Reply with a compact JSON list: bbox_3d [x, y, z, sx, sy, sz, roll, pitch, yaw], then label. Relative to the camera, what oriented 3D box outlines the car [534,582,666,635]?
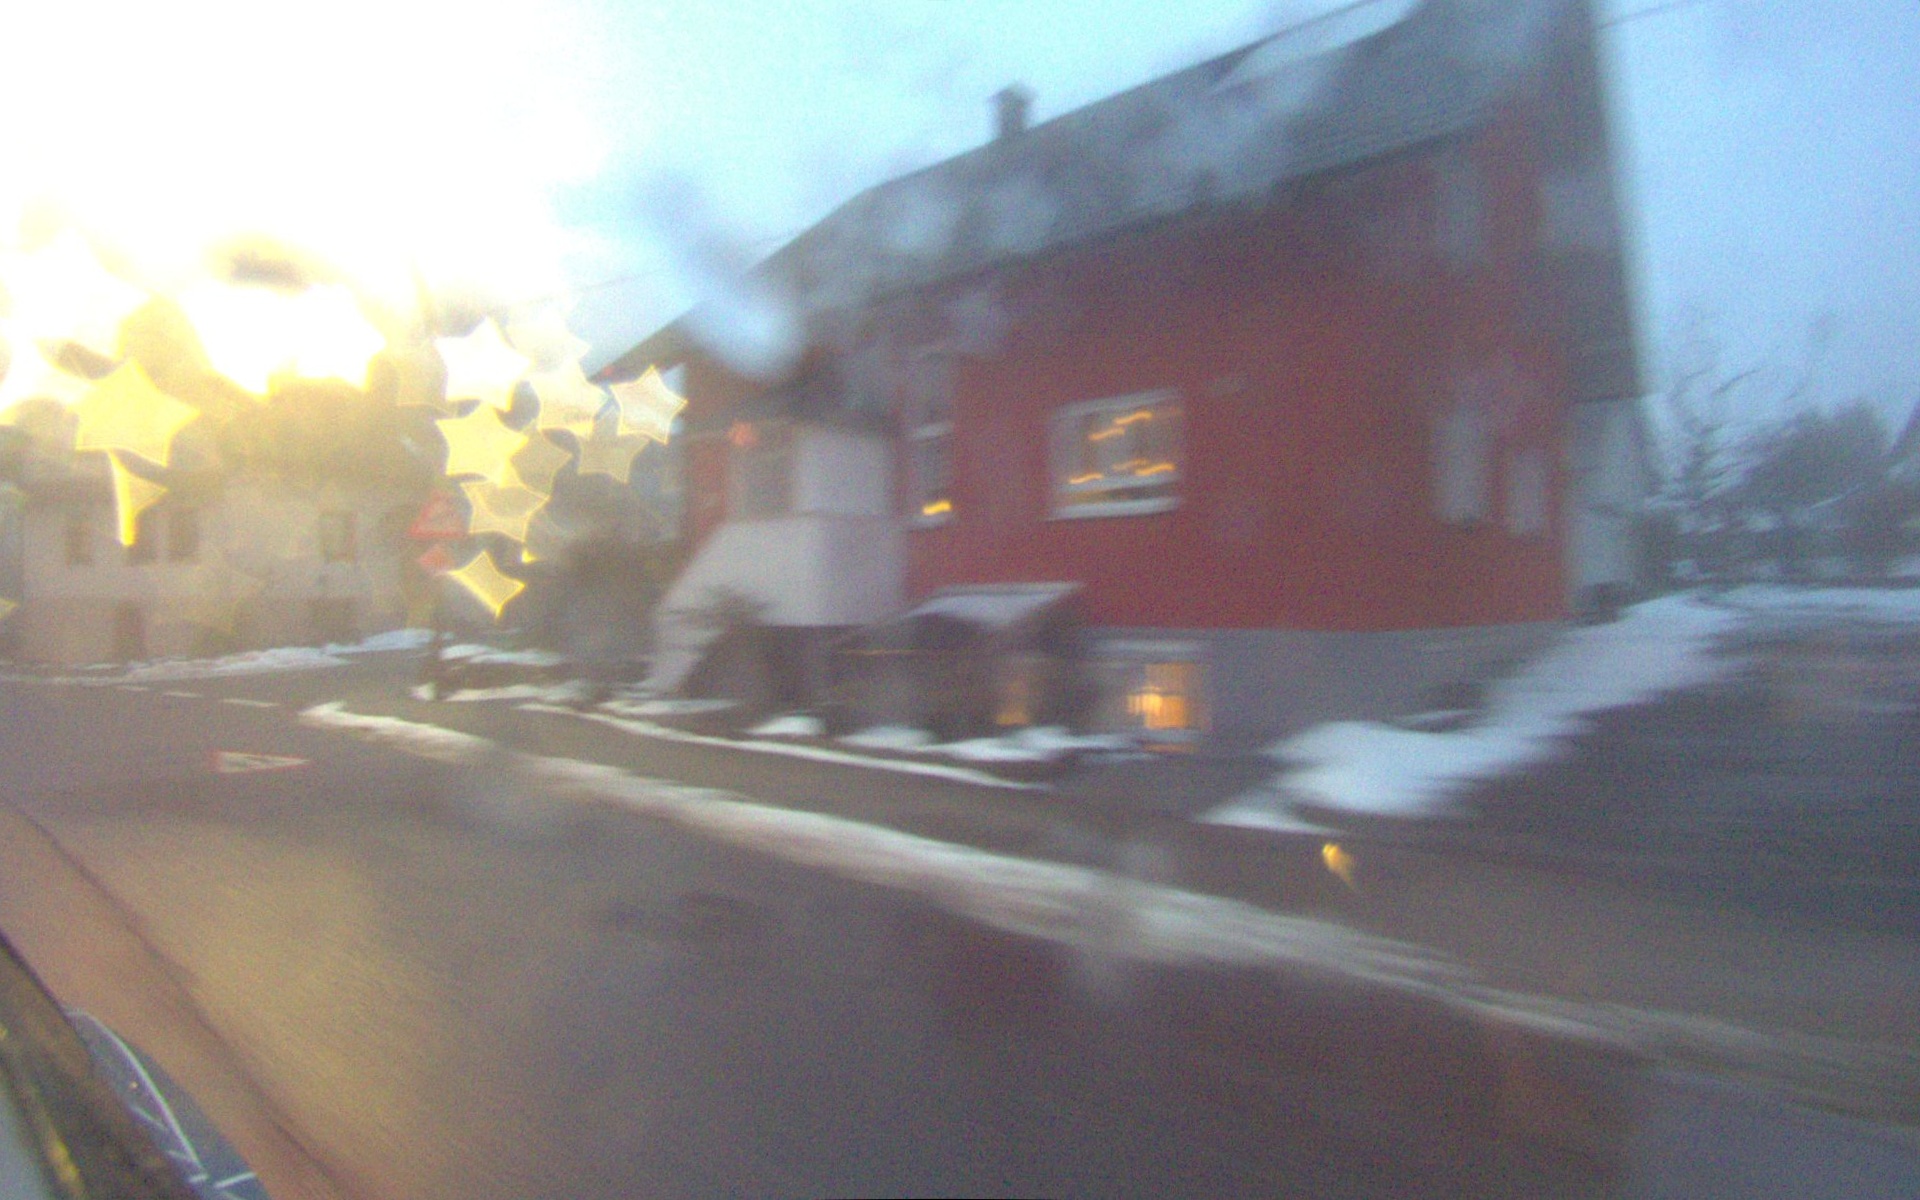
[{"bbox_3d":[-11.586,0.231,32.833,1.985,1.541,3.975,-1,2,19],"label":"car"}]

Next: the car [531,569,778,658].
[{"bbox_3d":[-5.568,0.218,18.564,3.965,1.515,1.870,-1,2,17],"label":"car"}]
